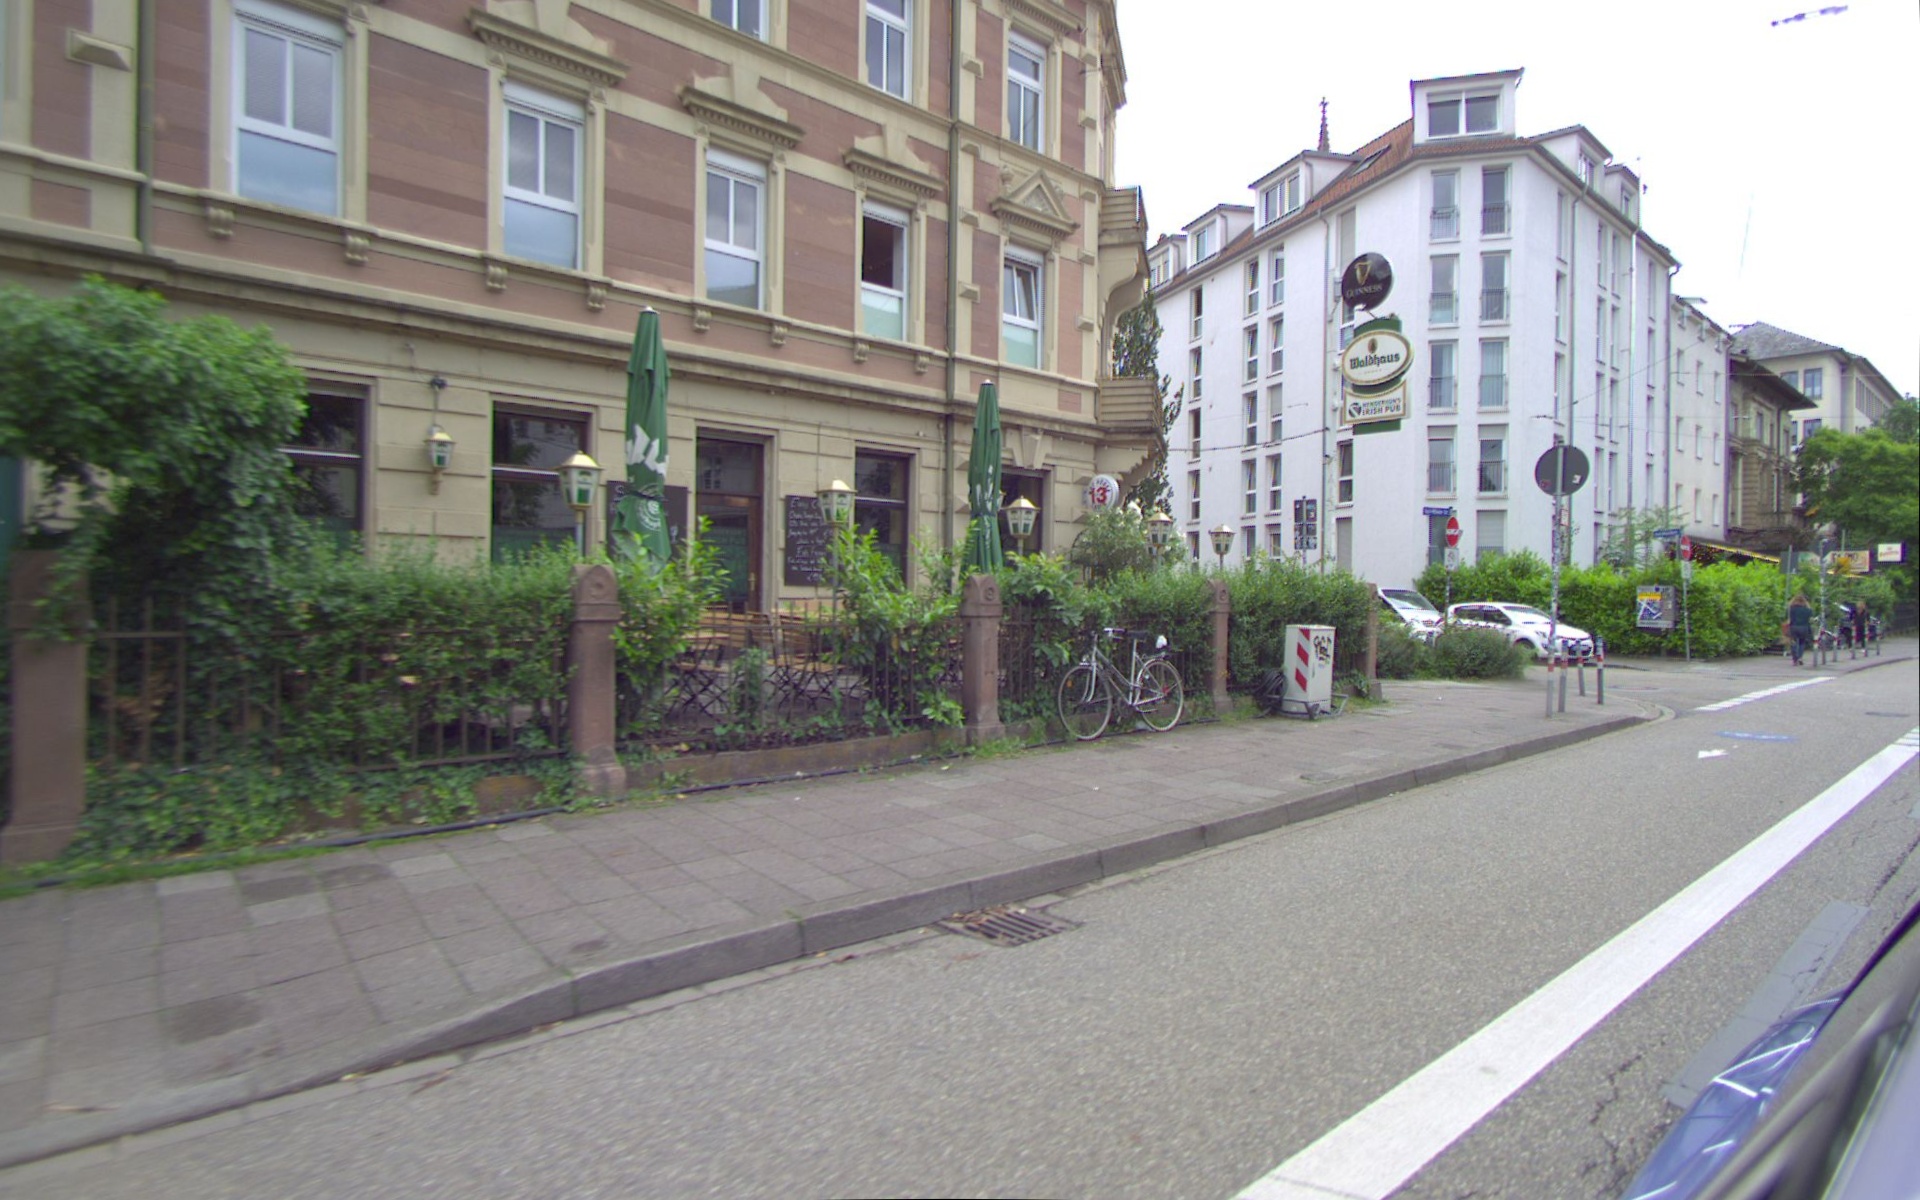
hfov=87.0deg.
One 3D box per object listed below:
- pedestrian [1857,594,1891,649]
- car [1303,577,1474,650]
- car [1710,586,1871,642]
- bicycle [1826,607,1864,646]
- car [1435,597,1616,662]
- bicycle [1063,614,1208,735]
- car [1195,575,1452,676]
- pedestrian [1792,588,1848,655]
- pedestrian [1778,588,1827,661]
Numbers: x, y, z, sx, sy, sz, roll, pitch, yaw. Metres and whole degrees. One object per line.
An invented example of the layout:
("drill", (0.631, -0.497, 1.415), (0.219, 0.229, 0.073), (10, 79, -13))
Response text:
("pedestrian", (29.296, 0.676, 32.446), (0.943, 1.691, 0.624), (1, 3, -42))
("car", (12.481, 0.352, 29.856), (1.935, 1.963, 4.755), (2, 0, -18))
("car", (30.490, 0.466, 37.243), (1.790, 1.831, 4.291), (0, 1, -38))
("bicycle", (27.602, 0.814, 31.548), (1.781, 1.142, 0.634), (1, 2, -42))
("car", (13.975, 0.688, 25.264), (1.636, 1.449, 3.829), (1, 0, -18))
("bicycle", (1.728, 0.676, 9.759), (1.816, 1.055, 0.302), (0, 0, -41))
("car", (7.547, 0.475, 20.979), (4.924, 1.901, 2.063), (0, 0, -23))
("pedestrian", (22.035, 0.540, 25.935), (0.819, 1.656, 0.797), (0, 2, -25))
("pedestrian", (19.702, 0.554, 23.674), (0.872, 1.677, 0.895), (0, 0, 41))
